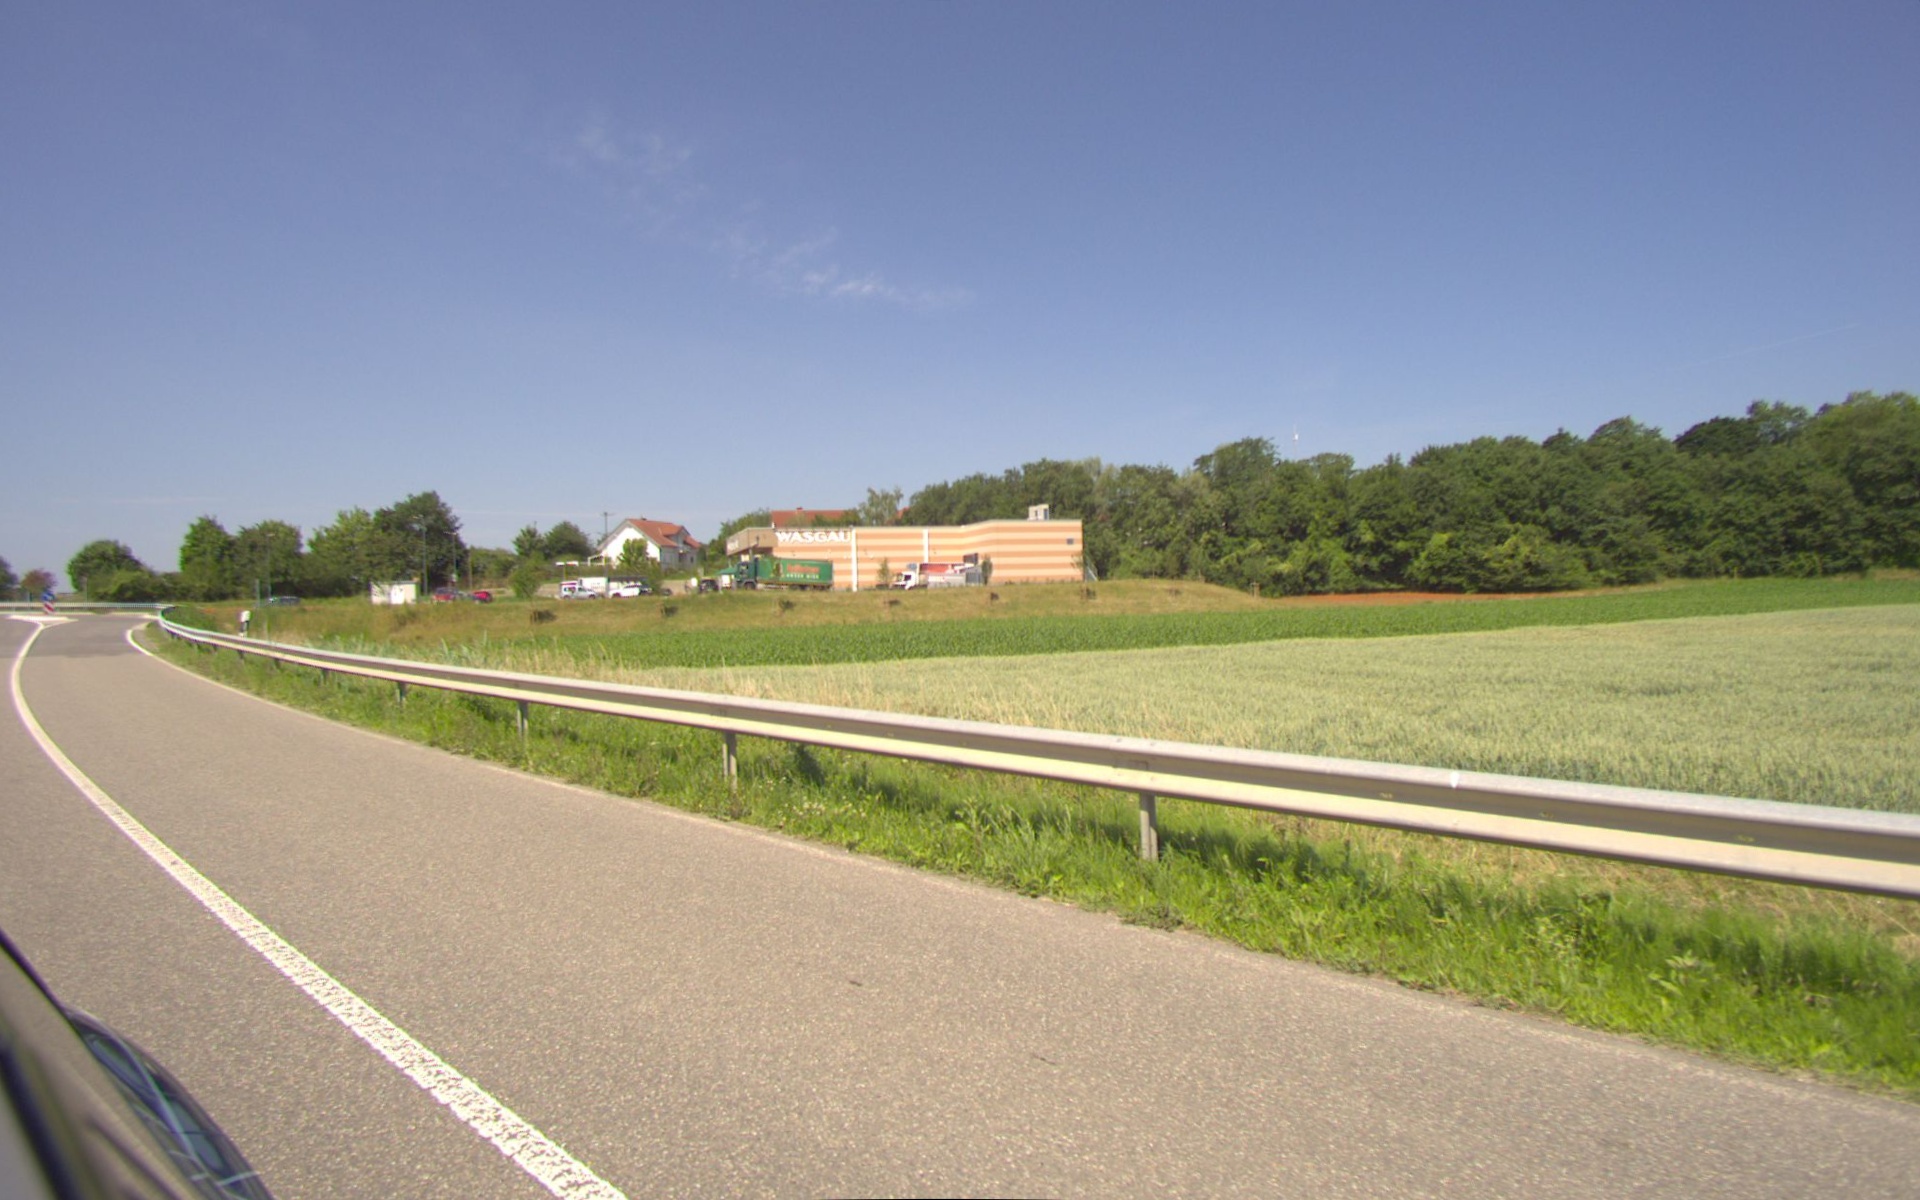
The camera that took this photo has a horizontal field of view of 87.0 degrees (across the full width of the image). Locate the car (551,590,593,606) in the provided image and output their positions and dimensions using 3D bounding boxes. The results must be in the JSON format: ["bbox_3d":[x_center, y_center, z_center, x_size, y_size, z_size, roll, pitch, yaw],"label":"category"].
[{"bbox_3d":[-43.085,-0.231,112.397,4.258,1.609,2.007,-2,2,-21],"label":"car"}]

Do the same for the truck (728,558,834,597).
[{"bbox_3d":[-17.276,-2.230,97.912,9.775,3.503,2.887,-2,2,-15],"label":"truck"}]

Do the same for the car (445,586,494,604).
[{"bbox_3d":[-50.854,-0.547,105.041,4.259,1.716,2.006,-2,2,-18],"label":"car"}]

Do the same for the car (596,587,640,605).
[{"bbox_3d":[-35.846,-0.402,105.987,4.259,1.716,2.007,-2,2,-20],"label":"car"}]

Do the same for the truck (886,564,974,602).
[{"bbox_3d":[-3.119,-1.831,106.366,8.730,3.590,2.888,-2,2,-19],"label":"truck"}]

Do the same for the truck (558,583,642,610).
[{"bbox_3d":[-49.309,-0.541,138.812,10.544,3.215,2.454,-3,3,-35],"label":"truck"}]
